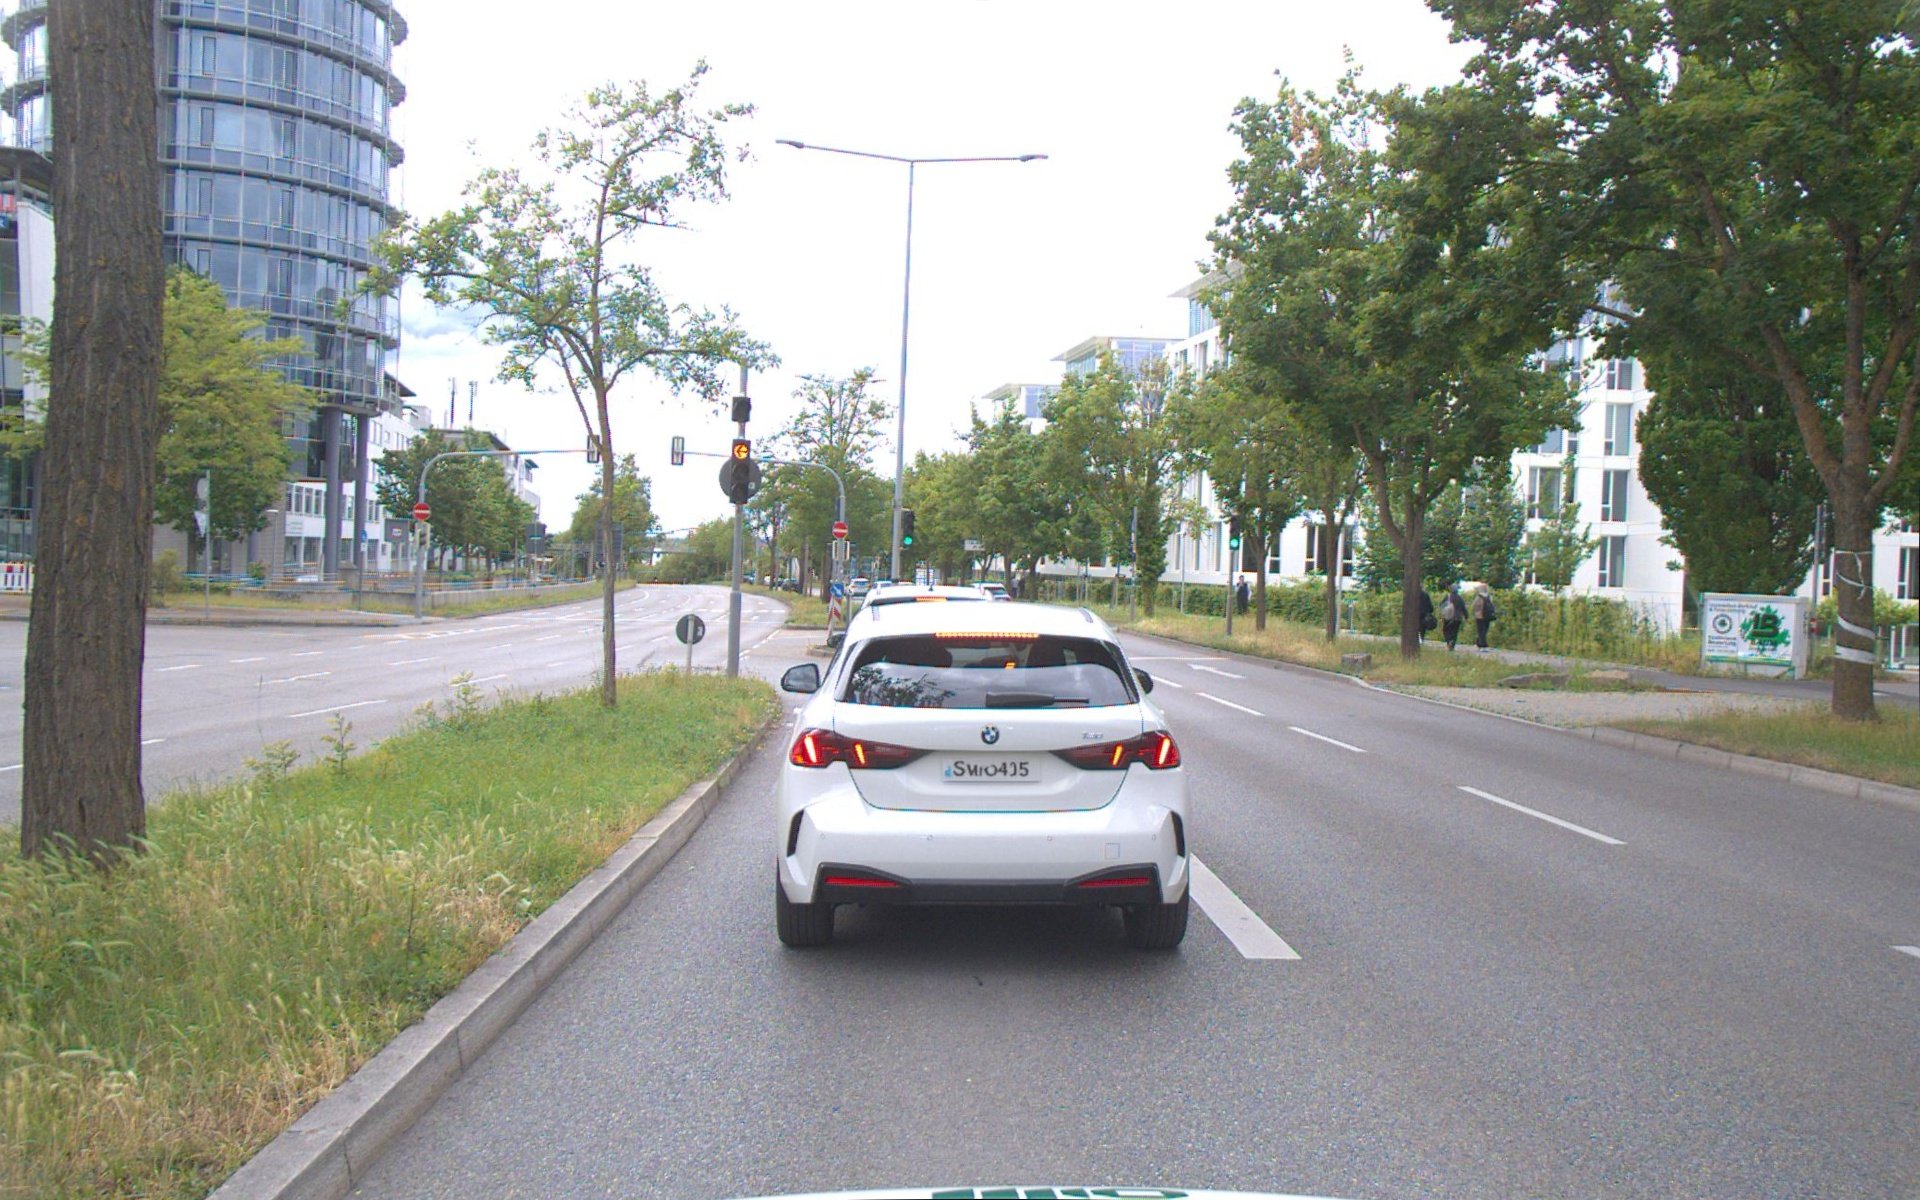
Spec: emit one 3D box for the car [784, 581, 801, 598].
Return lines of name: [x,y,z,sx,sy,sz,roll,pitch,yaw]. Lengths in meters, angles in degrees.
car: [-17.156,-1.048,169.255,1.570,1.695,3.997,1,0,-4]

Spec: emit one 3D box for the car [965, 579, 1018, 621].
car: [1.286,0.005,68.930,1.954,1.699,3.998,0,0,-3]

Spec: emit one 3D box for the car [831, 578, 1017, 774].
car: [-0.325,0.626,15.836,1.518,1.596,3.999,1,0,-1]

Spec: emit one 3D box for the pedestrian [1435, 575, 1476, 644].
pedestrian: [11.860,0.230,39.598,0.685,1.623,0.883,1,-1,-2]

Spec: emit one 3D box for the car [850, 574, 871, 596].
car: [-8.017,-1.208,133.306,1.570,1.695,3.997,1,0,-4]

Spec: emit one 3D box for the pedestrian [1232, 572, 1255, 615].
pedestrian: [10.483,-0.239,61.146,0.726,1.601,0.674,1,-1,-2]

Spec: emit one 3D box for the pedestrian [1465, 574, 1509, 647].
pedestrian: [12.648,0.244,39.697,0.751,1.715,0.883,1,-1,-2]

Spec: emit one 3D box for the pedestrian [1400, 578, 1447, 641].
pedestrian: [11.101,0.217,39.638,0.773,1.473,1.111,1,0,-2]

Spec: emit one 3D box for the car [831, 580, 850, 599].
car: [-11.109,-1.011,153.704,1.705,1.695,3.997,1,0,-4]

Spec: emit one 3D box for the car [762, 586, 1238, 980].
car: [0.128,0.692,8.324,1.785,1.463,3.999,1,0,-1]

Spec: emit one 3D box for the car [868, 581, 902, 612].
car: [-4.423,-0.192,97.310,1.663,1.747,3.994,1,0,-7]

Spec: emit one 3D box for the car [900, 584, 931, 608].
car: [-2.893,-0.263,107.823,1.660,1.512,3.688,1,0,-7]

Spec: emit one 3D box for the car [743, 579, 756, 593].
car: [-31.562,-2.083,248.420,1.803,2.049,3.994,1,0,-7]
